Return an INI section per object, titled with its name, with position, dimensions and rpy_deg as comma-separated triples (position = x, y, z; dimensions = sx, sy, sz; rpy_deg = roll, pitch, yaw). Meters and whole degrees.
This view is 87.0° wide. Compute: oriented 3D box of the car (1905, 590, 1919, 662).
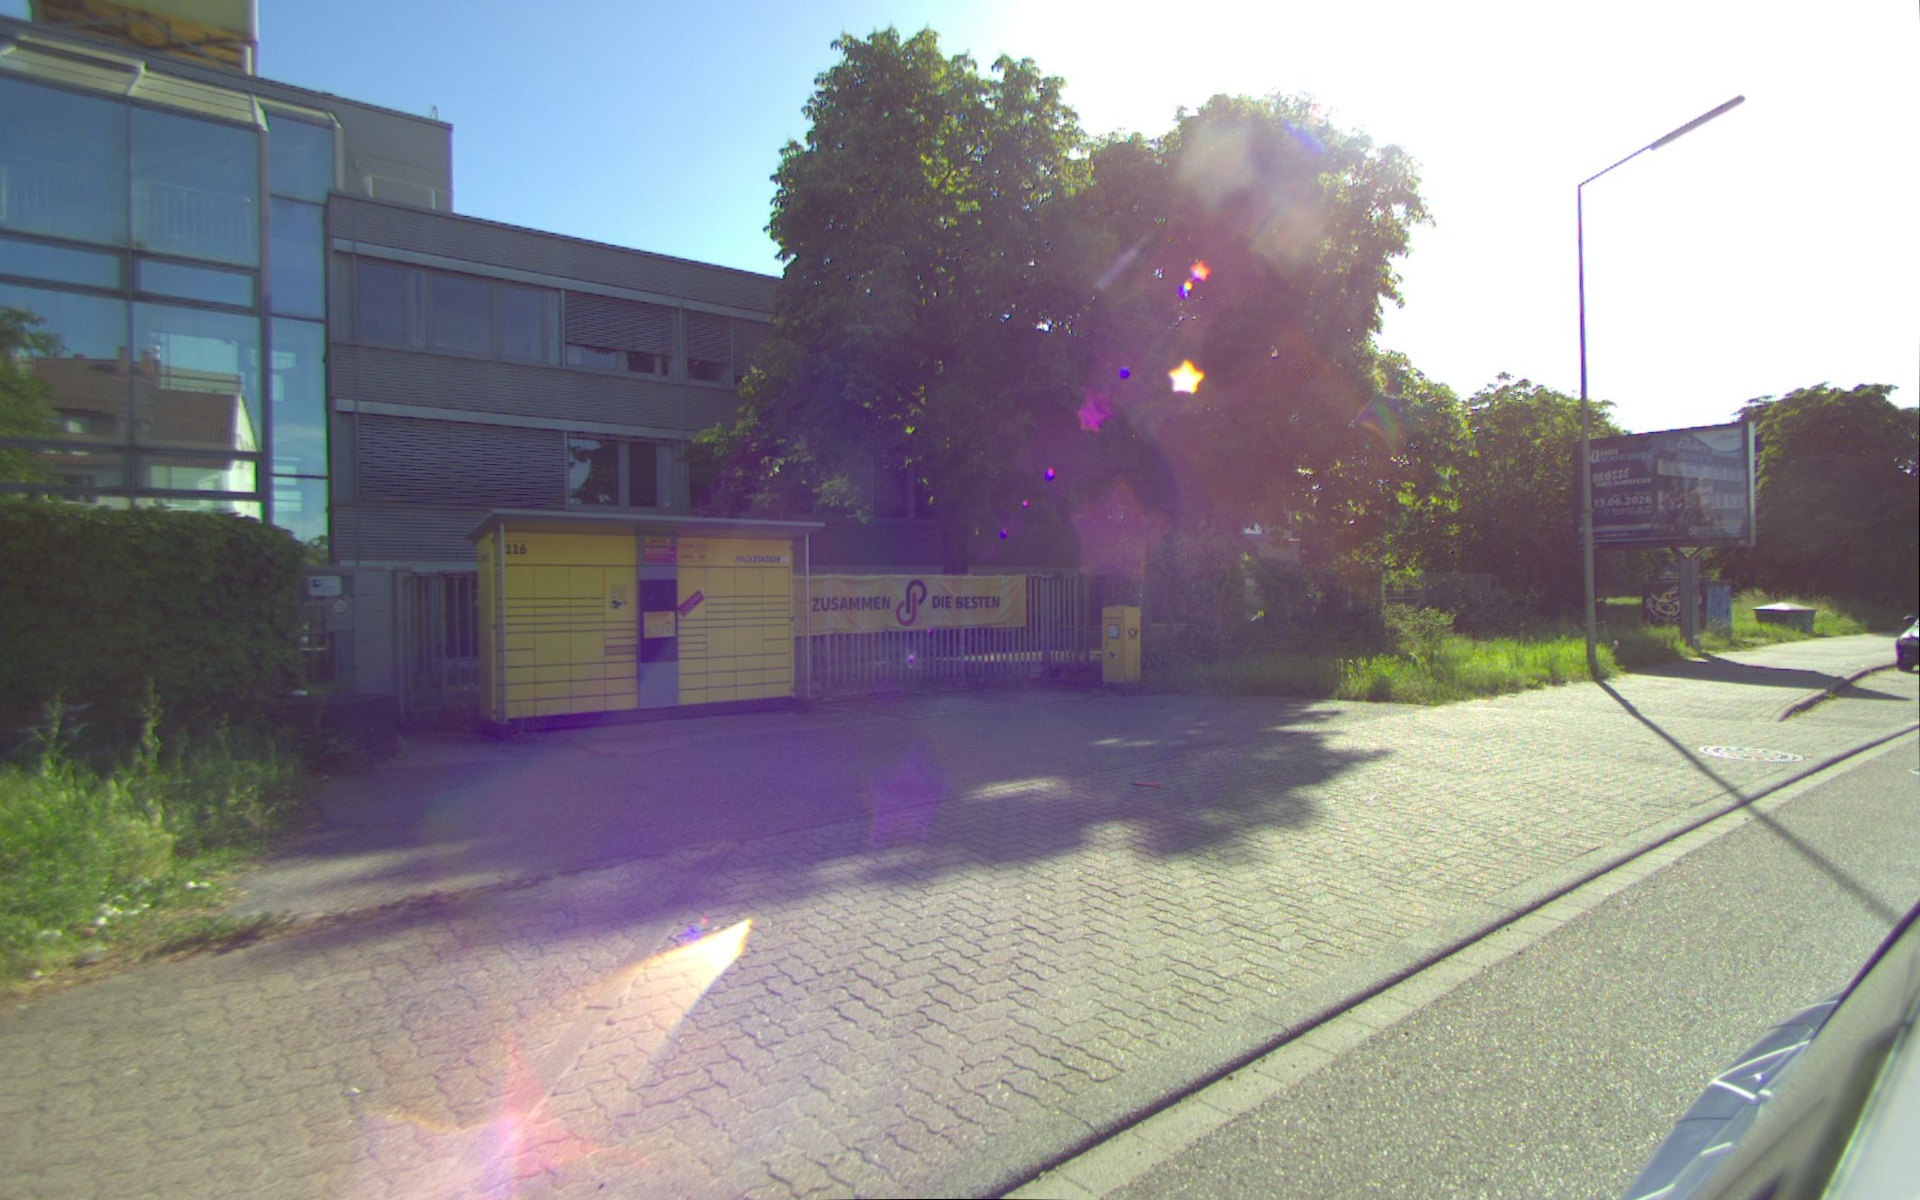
[car]
position = 21.341, 0.512, 20.958
dimensions = 4.341, 1.437, 1.814
rpy_deg = -1, 0, -36
